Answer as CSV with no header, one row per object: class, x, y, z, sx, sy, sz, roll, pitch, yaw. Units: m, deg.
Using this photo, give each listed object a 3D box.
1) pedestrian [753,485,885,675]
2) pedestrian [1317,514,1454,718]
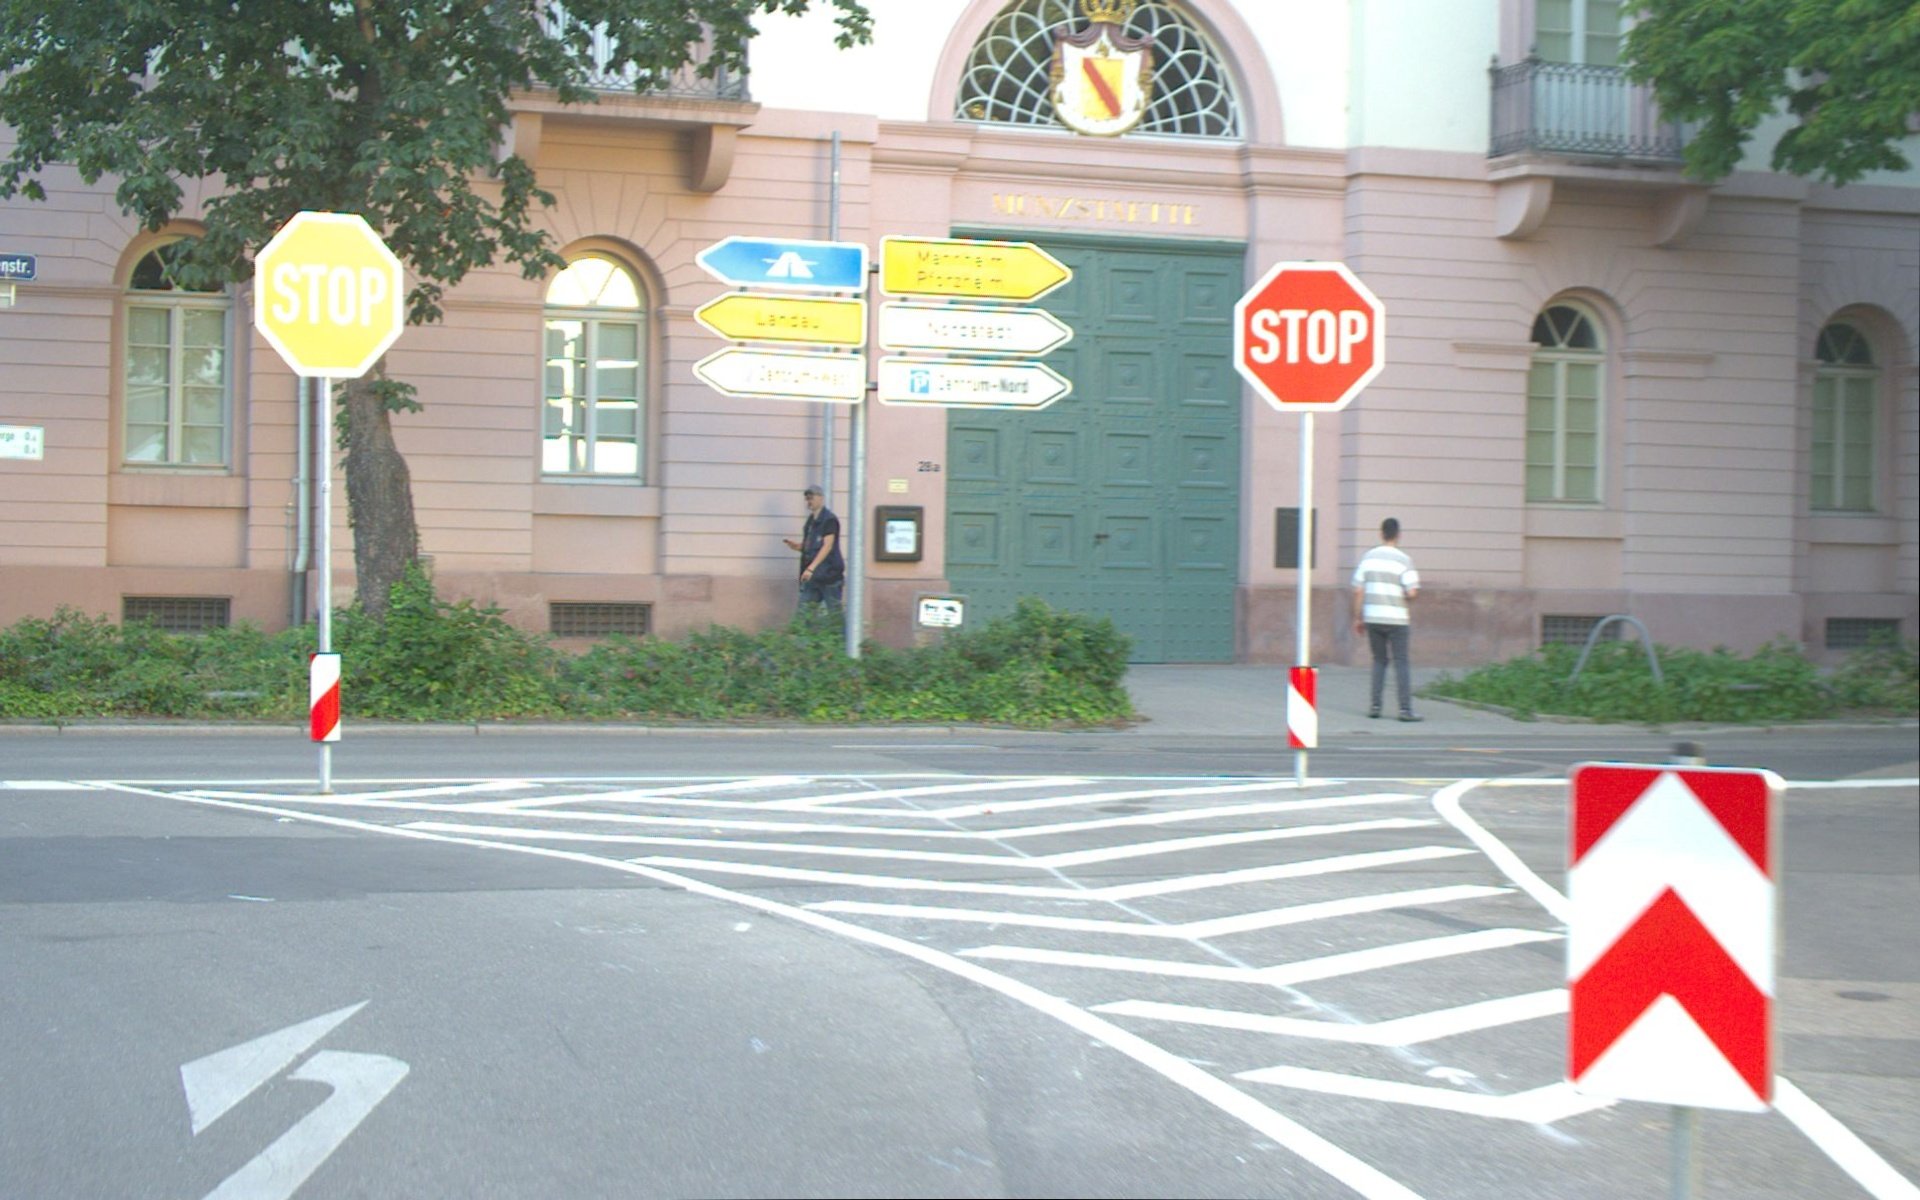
pedestrian,-1.392,-0.195,33.753,1.079,1.832,0.801,1,1,-20
pedestrian,3.858,0.139,31.216,0.926,1.825,0.801,1,1,-24
